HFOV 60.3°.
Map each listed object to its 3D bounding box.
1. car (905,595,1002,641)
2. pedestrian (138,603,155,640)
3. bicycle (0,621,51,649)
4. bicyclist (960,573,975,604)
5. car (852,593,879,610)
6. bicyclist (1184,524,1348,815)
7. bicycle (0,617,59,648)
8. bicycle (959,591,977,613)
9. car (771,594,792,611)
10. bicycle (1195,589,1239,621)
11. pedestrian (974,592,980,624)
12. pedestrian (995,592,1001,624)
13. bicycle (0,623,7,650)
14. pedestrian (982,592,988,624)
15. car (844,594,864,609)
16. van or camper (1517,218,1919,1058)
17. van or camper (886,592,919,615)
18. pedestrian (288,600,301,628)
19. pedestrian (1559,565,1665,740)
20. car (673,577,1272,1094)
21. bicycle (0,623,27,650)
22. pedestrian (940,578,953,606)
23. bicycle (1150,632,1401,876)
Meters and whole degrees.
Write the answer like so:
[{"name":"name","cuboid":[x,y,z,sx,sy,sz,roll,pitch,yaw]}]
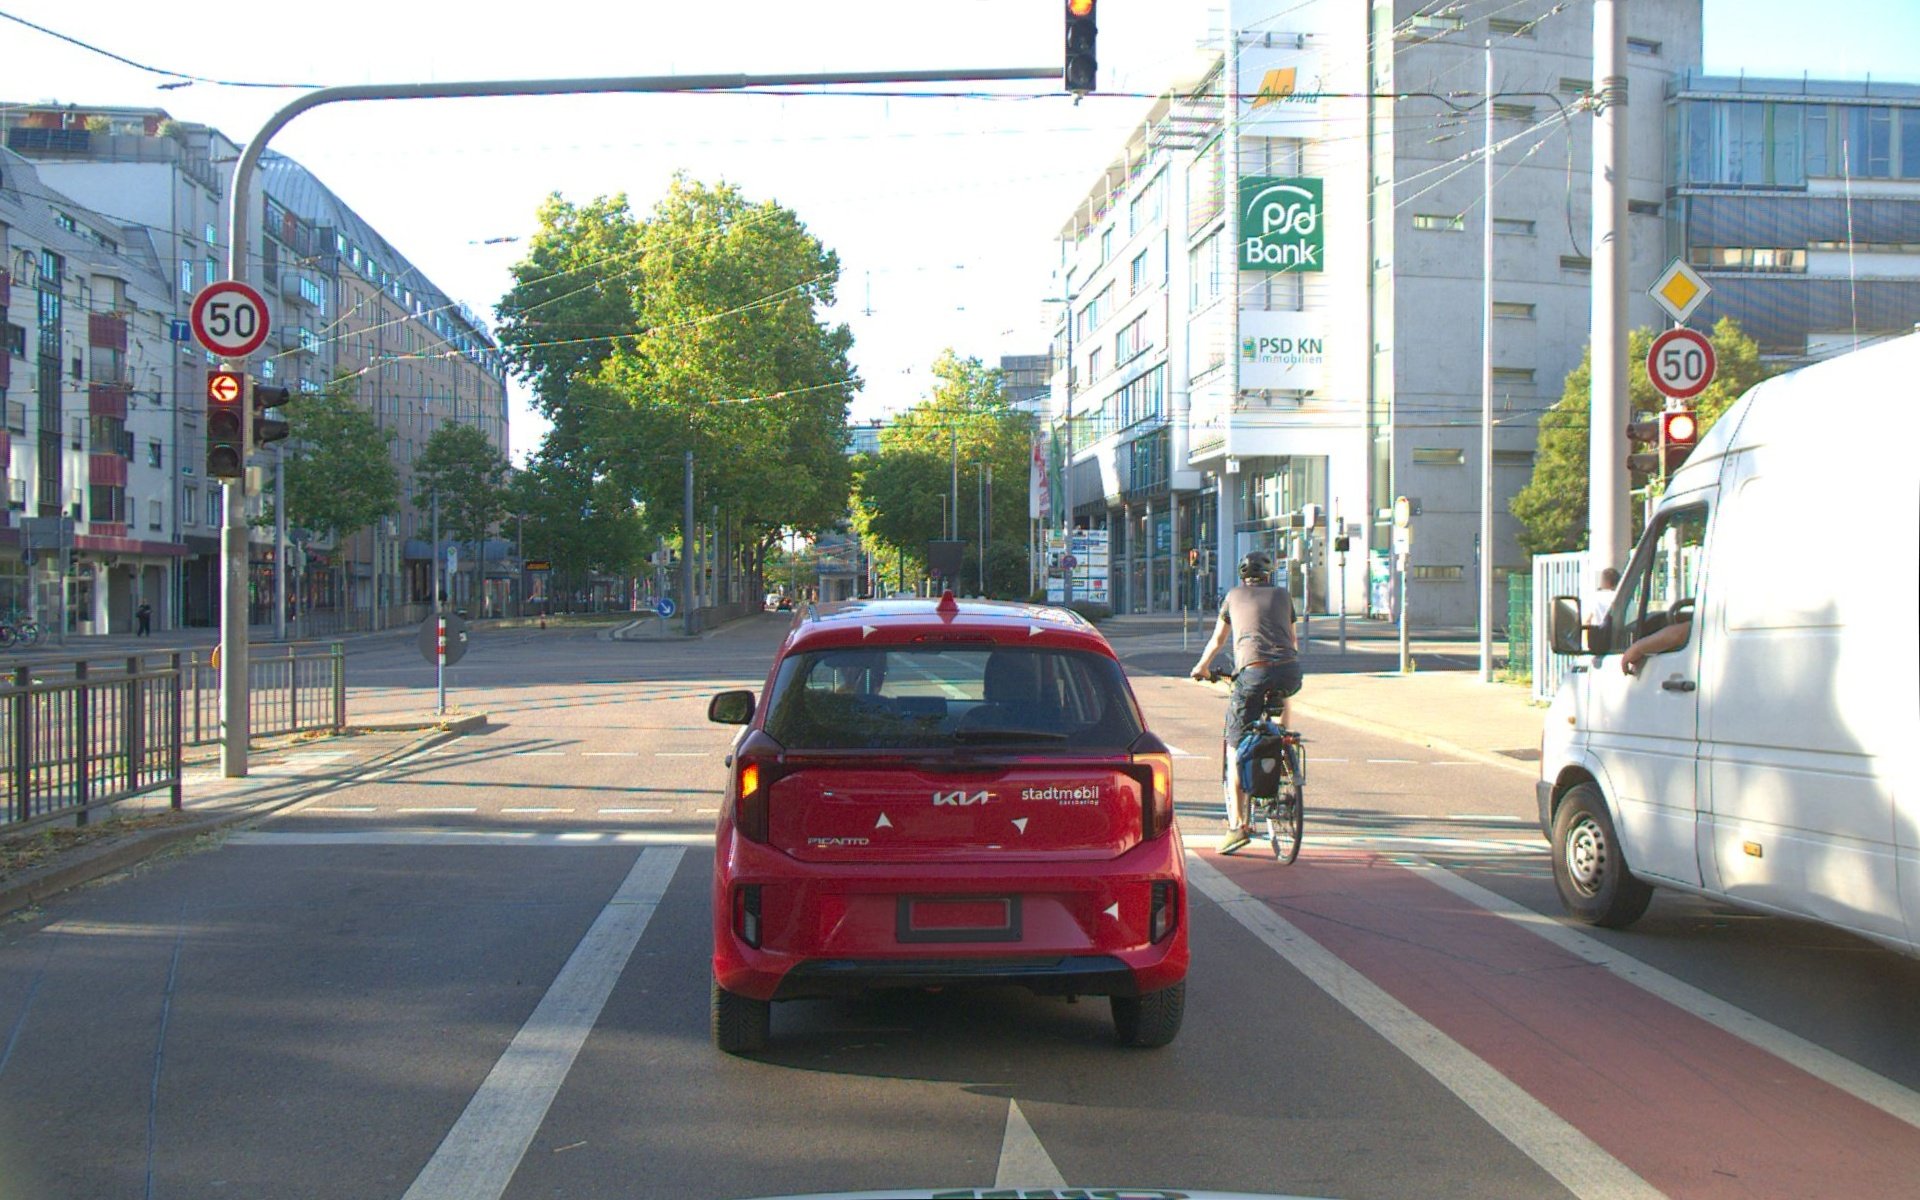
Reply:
[{"name":"car","cuboid":[-0.291,0.632,61.069,1.823,1.595,4.233,-1,0,-29]},{"name":"pedestrian","cuboid":[-32.674,0.857,66.435,0.501,1.484,0.526,-1,0,-13]},{"name":"bicycle","cuboid":[-29.629,1.091,51.649,2.129,0.838,0.527,-1,0,-9]},{"name":"bicyclist","cuboid":[0.400,-0.638,89.101,0.768,1.663,0.639,0,0,4]},{"name":"car","cuboid":[-9.491,0.151,166.149,2.431,1.555,4.424,-1,0,-7]},{"name":"bicyclist","cuboid":[1.851,0.406,10.080,0.730,1.698,0.743,1,0,-12]},{"name":"bicycle","cuboid":[-29.736,1.026,52.284,2.129,0.967,0.491,-1,0,-9]},{"name":"bicycle","cuboid":[0.431,0.100,89.368,0.776,1.182,2.501,0,0,4]},{"name":"car","cuboid":[-18.892,0.265,175.032,2.020,1.682,3.483,-1,0,-11]},{"name":"bicycle","cuboid":[11.689,0.229,75.237,1.898,1.468,0.574,0,0,-7]},{"name":"pedestrian","cuboid":[0.860,0.396,82.779,0.288,1.589,0.302,-1,0,-3]},{"name":"pedestrian","cuboid":[1.906,0.406,82.989,0.288,1.589,0.314,-1,0,5]},{"name":"bicycle","cuboid":[-29.808,1.106,49.503,2.129,0.801,0.639,-1,0,-9]},{"name":"pedestrian","cuboid":[1.247,0.399,82.750,0.288,1.589,0.355,-1,0,-6]},{"name":"car","cuboid":[-11.624,0.173,181.203,1.850,1.555,4.423,-1,0,-8]},{"name":"van or camper","cuboid":[4.292,0.150,5.507,2.224,2.781,6.340,2,0,-5]},{"name":"van or camper","cuboid":[-4.629,0.250,132.104,2.105,1.781,4.423,-1,0,-8]},{"name":"pedestrian","cuboid":[-35.413,0.754,87.975,0.500,1.484,0.527,-1,0,-8]},{"name":"pedestrian","cuboid":[6.791,0.531,17.255,0.770,1.779,0.772,-1,0,-1]},{"name":"car","cuboid":[-0.116,0.684,6.830,1.804,1.515,3.712,0,0,-5]},{"name":"bicycle","cuboid":[-29.633,1.107,50.286,2.129,0.801,0.491,-1,0,-9]},{"name":"pedestrian","cuboid":[-0.877,-0.514,104.569,0.728,1.746,0.747,0,0,-7]},{"name":"bicycle","cuboid":[1.847,0.864,10.075,0.730,1.245,2.150,1,1,-11]}]
